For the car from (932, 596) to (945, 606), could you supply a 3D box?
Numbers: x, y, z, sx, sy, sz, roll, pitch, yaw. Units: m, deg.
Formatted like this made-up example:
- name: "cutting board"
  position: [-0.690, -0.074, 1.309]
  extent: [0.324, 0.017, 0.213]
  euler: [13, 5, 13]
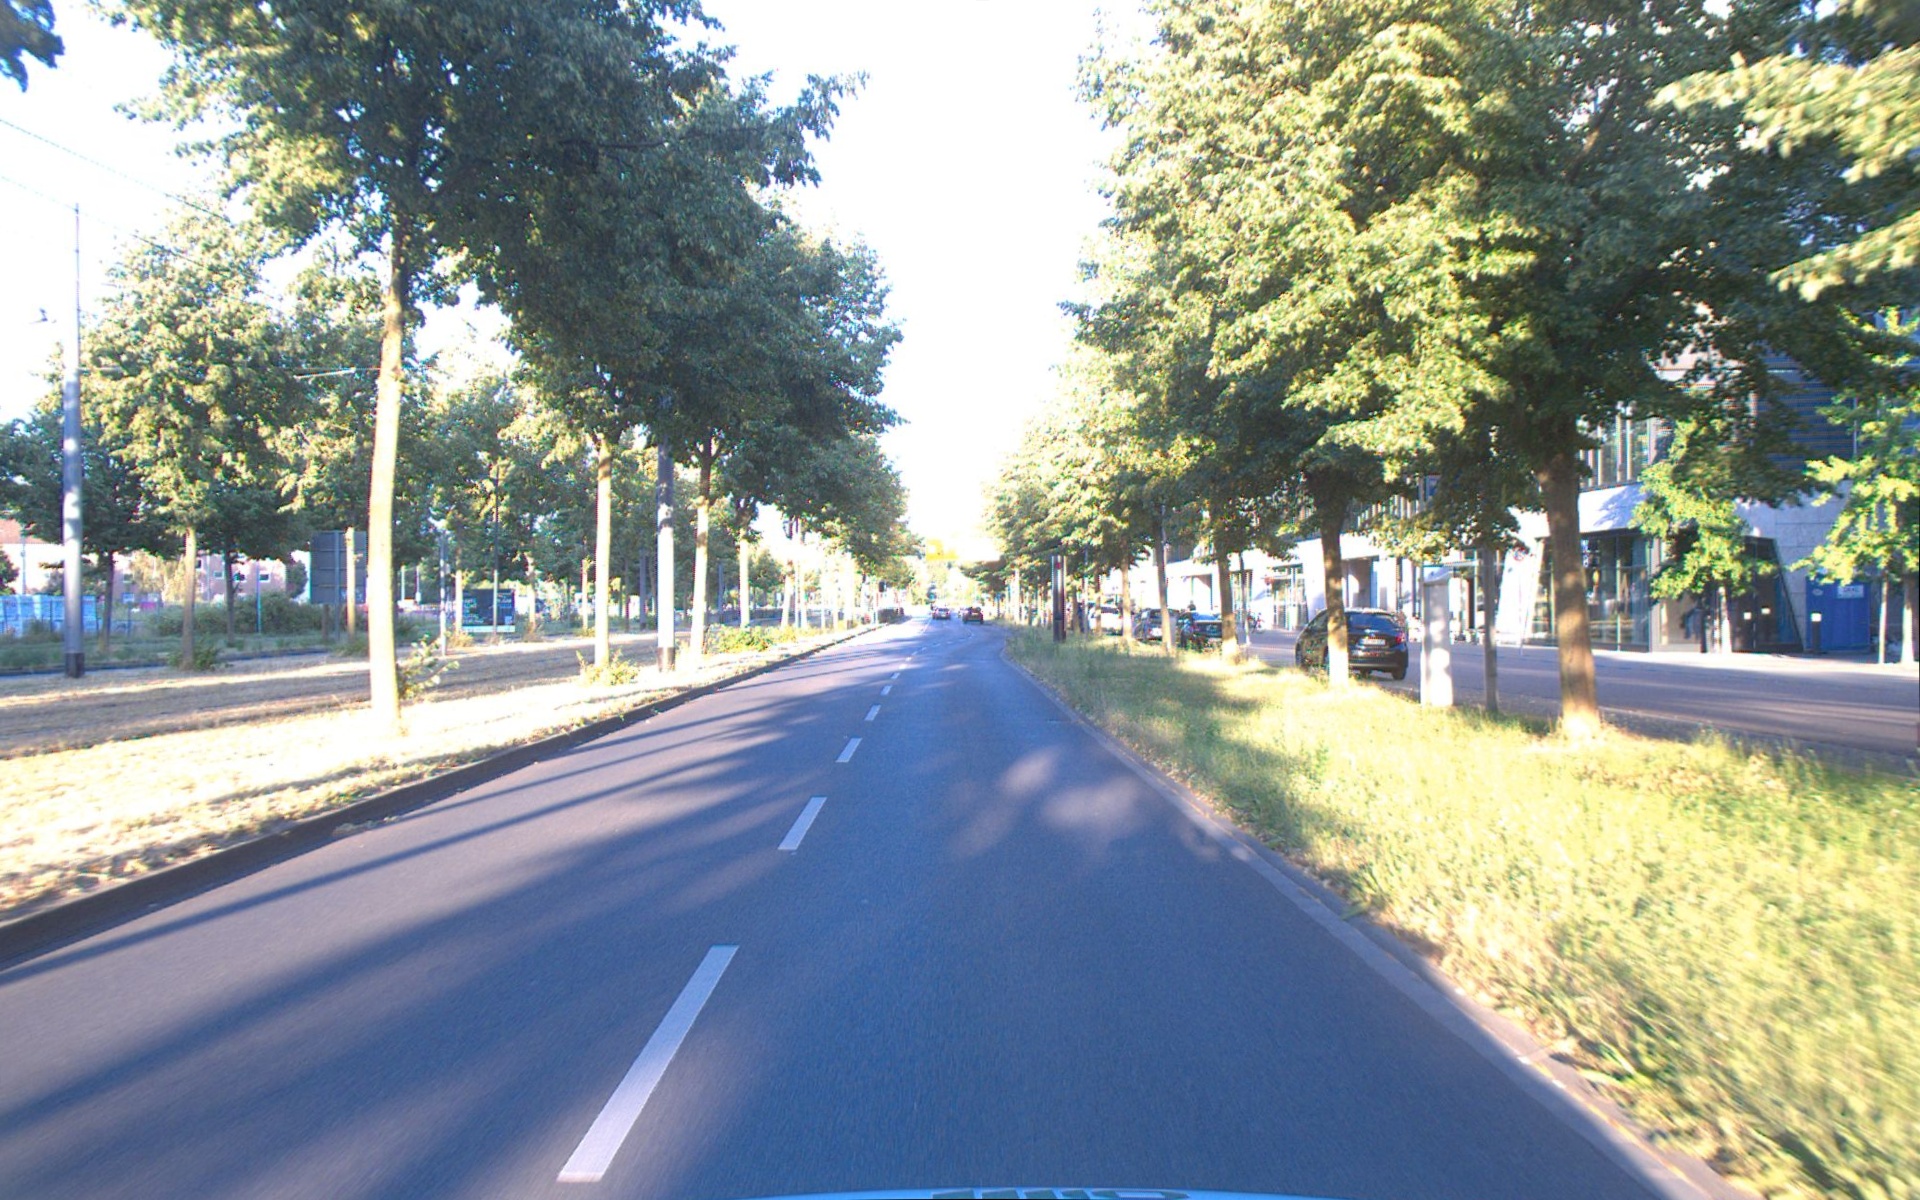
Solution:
- name: "car"
  position: [-3.314, 0.149, 251.491]
  extent: [1.873, 1.512, 3.999]
  euler: [0, 0, -2]

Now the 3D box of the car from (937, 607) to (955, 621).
- name: "car"
  position: [-1.599, 1.550, 185.994]
  extent: [1.873, 1.512, 3.999]
  euler: [0, 0, -2]

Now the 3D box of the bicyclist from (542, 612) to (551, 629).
- name: "bicyclist"
  position: [-38.033, 1.892, 152.130]
  extent: [0.607, 1.482, 0.937]
  euler: [-1, -1, -3]

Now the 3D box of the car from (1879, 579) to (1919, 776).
- name: "car"
  position: [8.736, 0.628, 11.998]
  extent: [1.801, 1.598, 4.059]
  euler: [0, 0, -2]

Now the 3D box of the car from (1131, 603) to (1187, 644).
- name: "car"
  position: [7.937, 0.935, 66.298]
  extent: [1.675, 1.542, 3.757]
  euler: [2, 0, -2]

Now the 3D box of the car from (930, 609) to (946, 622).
- name: "car"
  position: [-2.664, 1.886, 197.838]
  extent: [1.873, 1.512, 3.999]
  euler: [0, 0, -2]

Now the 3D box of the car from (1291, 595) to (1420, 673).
- name: "car"
  position: [8.475, 0.687, 35.736]
  extent: [1.744, 1.520, 3.999]
  euler: [2, 0, -1]

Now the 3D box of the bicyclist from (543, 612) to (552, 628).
- name: "bicyclist"
  position: [-37.308, 1.769, 149.774]
  extent: [0.607, 1.446, 0.937]
  euler: [-1, -1, -3]

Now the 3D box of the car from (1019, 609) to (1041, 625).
- name: "car"
  position: [6.610, 1.620, 156.164]
  extent: [1.742, 1.498, 4.286]
  euler: [0, 0, -3]

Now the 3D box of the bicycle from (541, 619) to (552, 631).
- name: "bicycle"
  position: [-38.015, 2.287, 151.996]
  extent: [0.607, 1.029, 2.082]
  euler: [-1, 0, -3]

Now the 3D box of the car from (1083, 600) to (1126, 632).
- name: "car"
  position: [7.911, 0.860, 91.035]
  extent: [1.953, 1.671, 4.878]
  euler: [-1, 0, 0]

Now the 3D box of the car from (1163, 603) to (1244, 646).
- name: "car"
  position: [8.262, 0.803, 56.479]
  extent: [1.815, 1.391, 4.831]
  euler: [-1, 0, -3]

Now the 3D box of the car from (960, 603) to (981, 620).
- name: "car"
  position: [0.943, 1.073, 152.496]
  extent: [1.873, 1.512, 3.999]
  euler: [0, 0, -2]

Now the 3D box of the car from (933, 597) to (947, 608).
- name: "car"
  position: [-2.909, 0.363, 237.110]
  extent: [1.873, 1.512, 3.999]
  euler: [0, 0, -2]

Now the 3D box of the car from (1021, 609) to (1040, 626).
- name: "car"
  position: [6.367, 1.538, 149.311]
  extent: [1.543, 1.498, 3.881]
  euler: [0, 0, 0]

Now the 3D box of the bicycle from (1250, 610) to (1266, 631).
- name: "bicycle"
  position: [15.151, 1.032, 84.169]
  extent: [0.461, 1.057, 1.806]
  euler: [-1, 0, 0]

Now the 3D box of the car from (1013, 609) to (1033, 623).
- name: "car"
  position: [6.493, 1.664, 171.278]
  extent: [1.722, 1.491, 4.156]
  euler: [0, 0, -3]

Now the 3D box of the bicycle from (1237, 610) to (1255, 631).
- name: "bicycle"
  position: [14.594, 1.023, 84.432]
  extent: [0.582, 1.057, 1.892]
  euler: [-1, 0, 0]

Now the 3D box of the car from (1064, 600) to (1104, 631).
- name: "car"
  position: [7.744, 0.944, 103.746]
  extent: [1.954, 1.884, 4.662]
  euler: [-1, 0, -3]

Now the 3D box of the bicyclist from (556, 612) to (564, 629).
- name: "bicyclist"
  position: [-36.844, 1.877, 152.375]
  extent: [0.607, 1.482, 0.937]
  euler: [-1, -1, -3]
